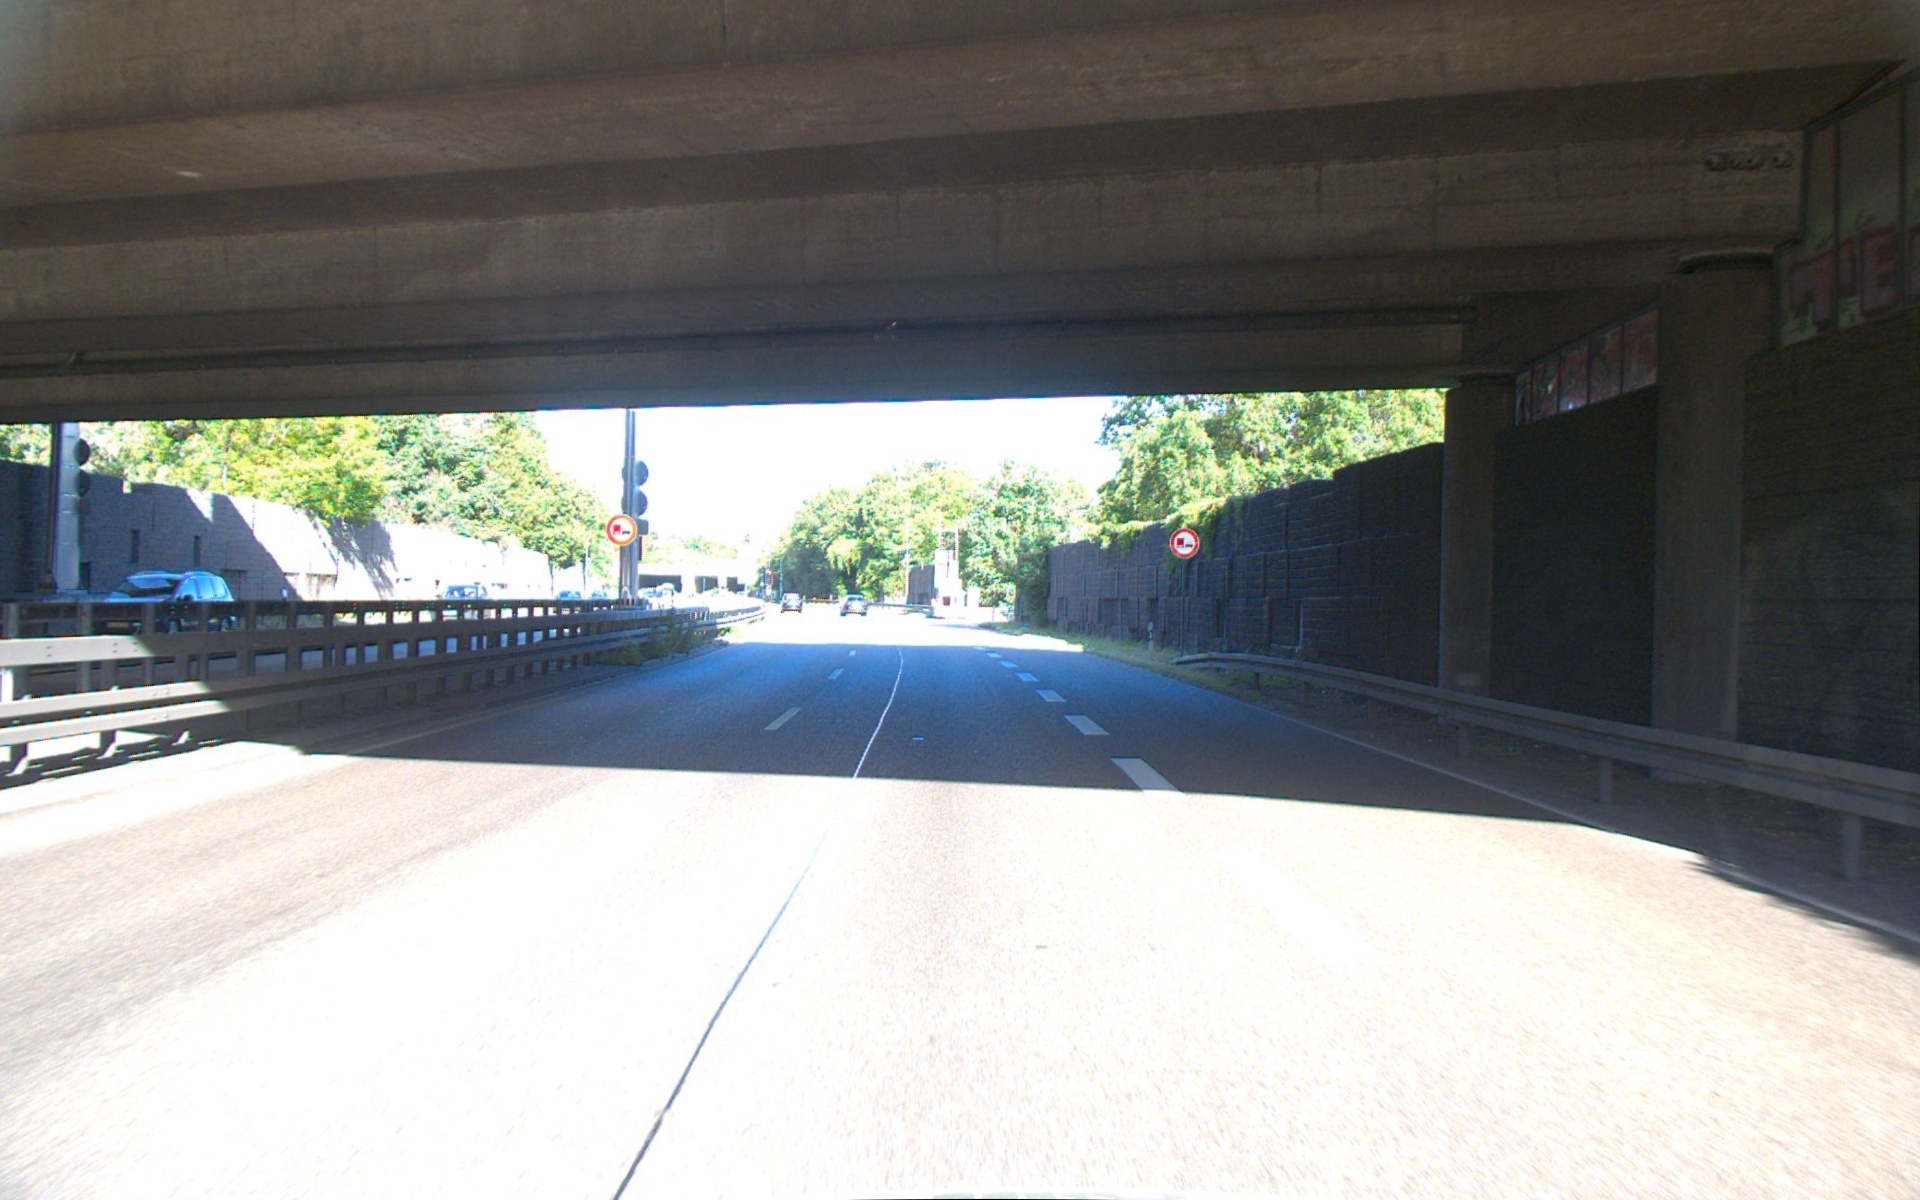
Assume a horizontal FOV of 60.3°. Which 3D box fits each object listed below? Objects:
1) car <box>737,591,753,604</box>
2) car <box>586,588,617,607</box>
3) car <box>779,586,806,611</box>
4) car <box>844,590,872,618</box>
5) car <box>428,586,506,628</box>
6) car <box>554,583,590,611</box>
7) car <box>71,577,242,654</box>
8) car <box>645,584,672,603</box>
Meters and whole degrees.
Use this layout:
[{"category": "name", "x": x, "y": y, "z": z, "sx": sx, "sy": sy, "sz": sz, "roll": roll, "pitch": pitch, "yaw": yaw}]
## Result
[{"category": "car", "x": -33.255, "y": -0.427, "z": 255.815, "sx": 1.959, "sy": 1.959, "sz": 3.988, "roll": 2, "pitch": 0, "yaw": -13}, {"category": "car", "x": -28.507, "y": -0.202, "z": 131.564, "sx": 1.860, "sy": 1.446, "sz": 4.130, "roll": 0, "pitch": 1, "yaw": -5}, {"category": "car", "x": -13.678, "y": -0.116, "z": 135.306, "sx": 1.954, "sy": 1.959, "sz": 3.998, "roll": 2, "pitch": 0, "yaw": -3}, {"category": "car", "x": -7.386, "y": 0.290, "z": 120.078, "sx": 1.954, "sy": 1.959, "sz": 3.998, "roll": 2, "pitch": 0, "yaw": -3}, {"category": "car", "x": -20.311, "y": 0.250, "z": 68.357, "sx": 1.953, "sy": 1.624, "sz": 4.426, "roll": 1, "pitch": 0, "yaw": -1}, {"category": "car", "x": -24.239, "y": -0.200, "z": 103.442, "sx": 1.516, "sy": 1.601, "sz": 4.391, "roll": 3, "pitch": 0, "yaw": -5}, {"category": "car", "x": -19.119, "y": 0.332, "z": 39.623, "sx": 1.953, "sy": 1.735, "sz": 4.560, "roll": 0, "pitch": 0, "yaw": -1}, {"category": "car", "x": -27.079, "y": -0.571, "z": 148.508, "sx": 1.861, "sy": 1.601, "sz": 4.803, "roll": 3, "pitch": 0, "yaw": -5}]
